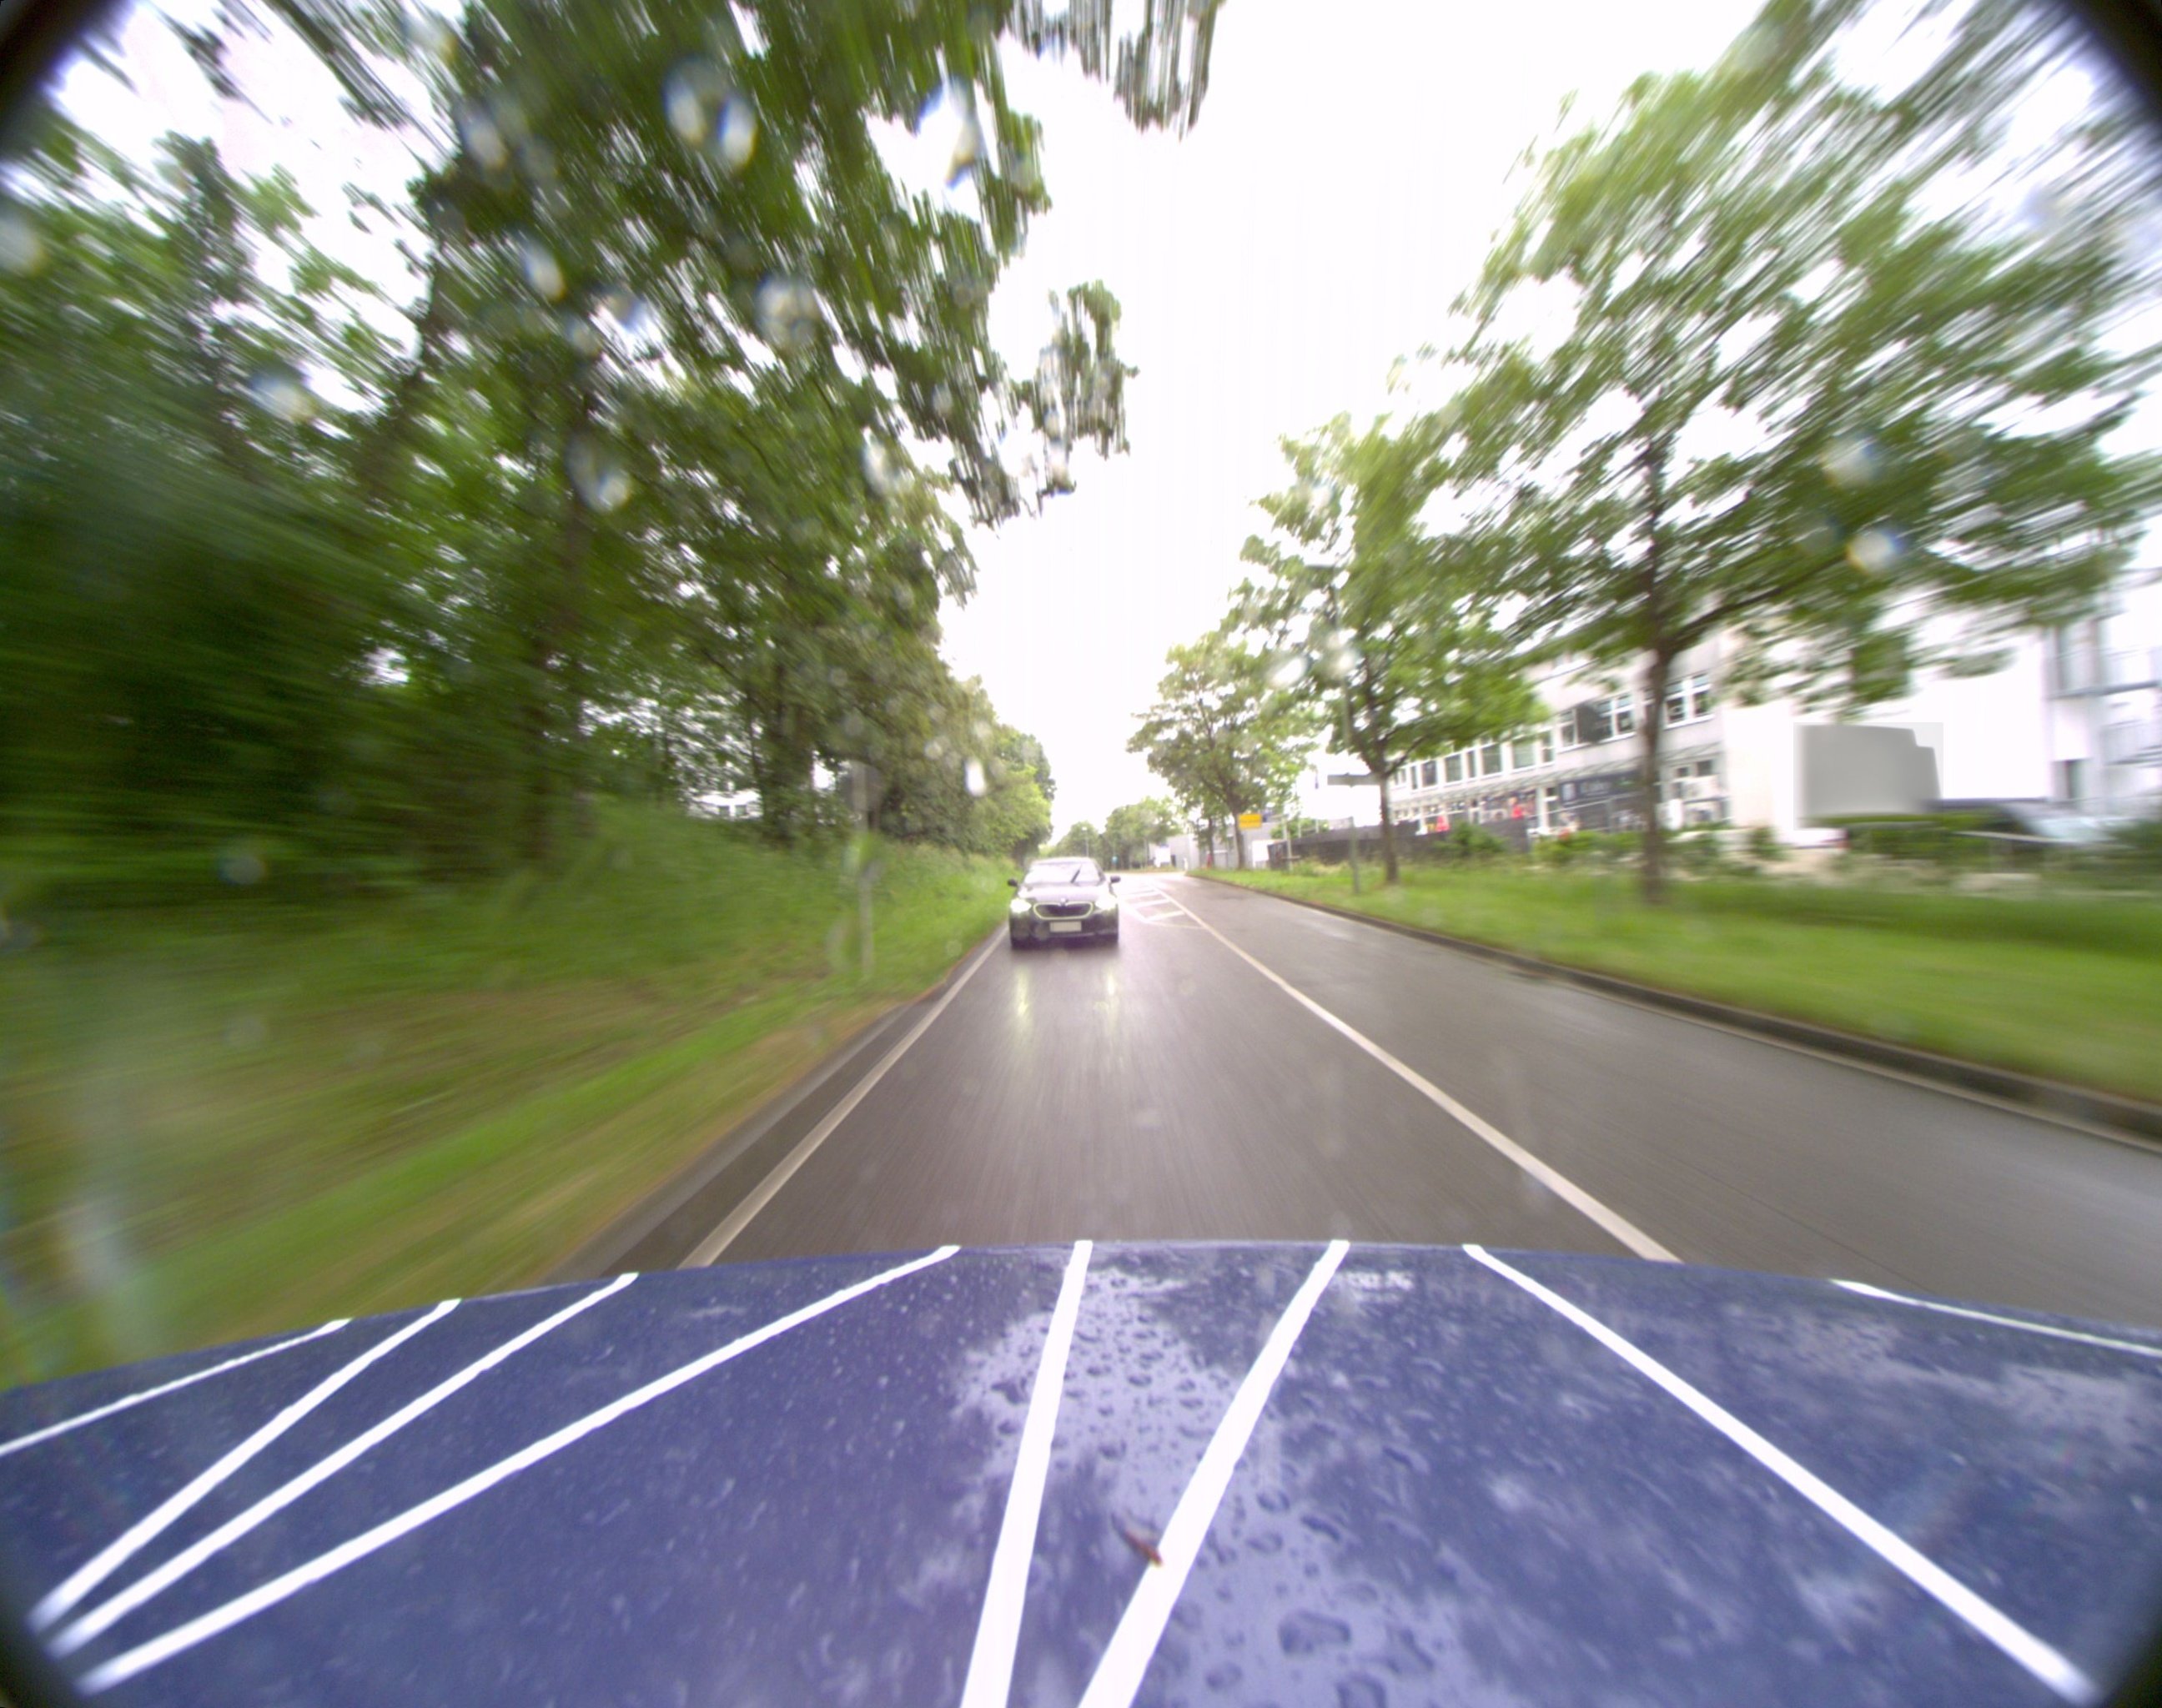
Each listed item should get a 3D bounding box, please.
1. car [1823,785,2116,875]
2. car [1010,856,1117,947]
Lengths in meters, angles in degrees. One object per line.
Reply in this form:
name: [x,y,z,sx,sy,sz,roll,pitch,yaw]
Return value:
car: [24.925,-0.833,21.747,1.910,1.908,5.217,-3,9,-3]
car: [-0.378,0.860,15.661,1.845,1.471,3.999,-4,1,-2]
